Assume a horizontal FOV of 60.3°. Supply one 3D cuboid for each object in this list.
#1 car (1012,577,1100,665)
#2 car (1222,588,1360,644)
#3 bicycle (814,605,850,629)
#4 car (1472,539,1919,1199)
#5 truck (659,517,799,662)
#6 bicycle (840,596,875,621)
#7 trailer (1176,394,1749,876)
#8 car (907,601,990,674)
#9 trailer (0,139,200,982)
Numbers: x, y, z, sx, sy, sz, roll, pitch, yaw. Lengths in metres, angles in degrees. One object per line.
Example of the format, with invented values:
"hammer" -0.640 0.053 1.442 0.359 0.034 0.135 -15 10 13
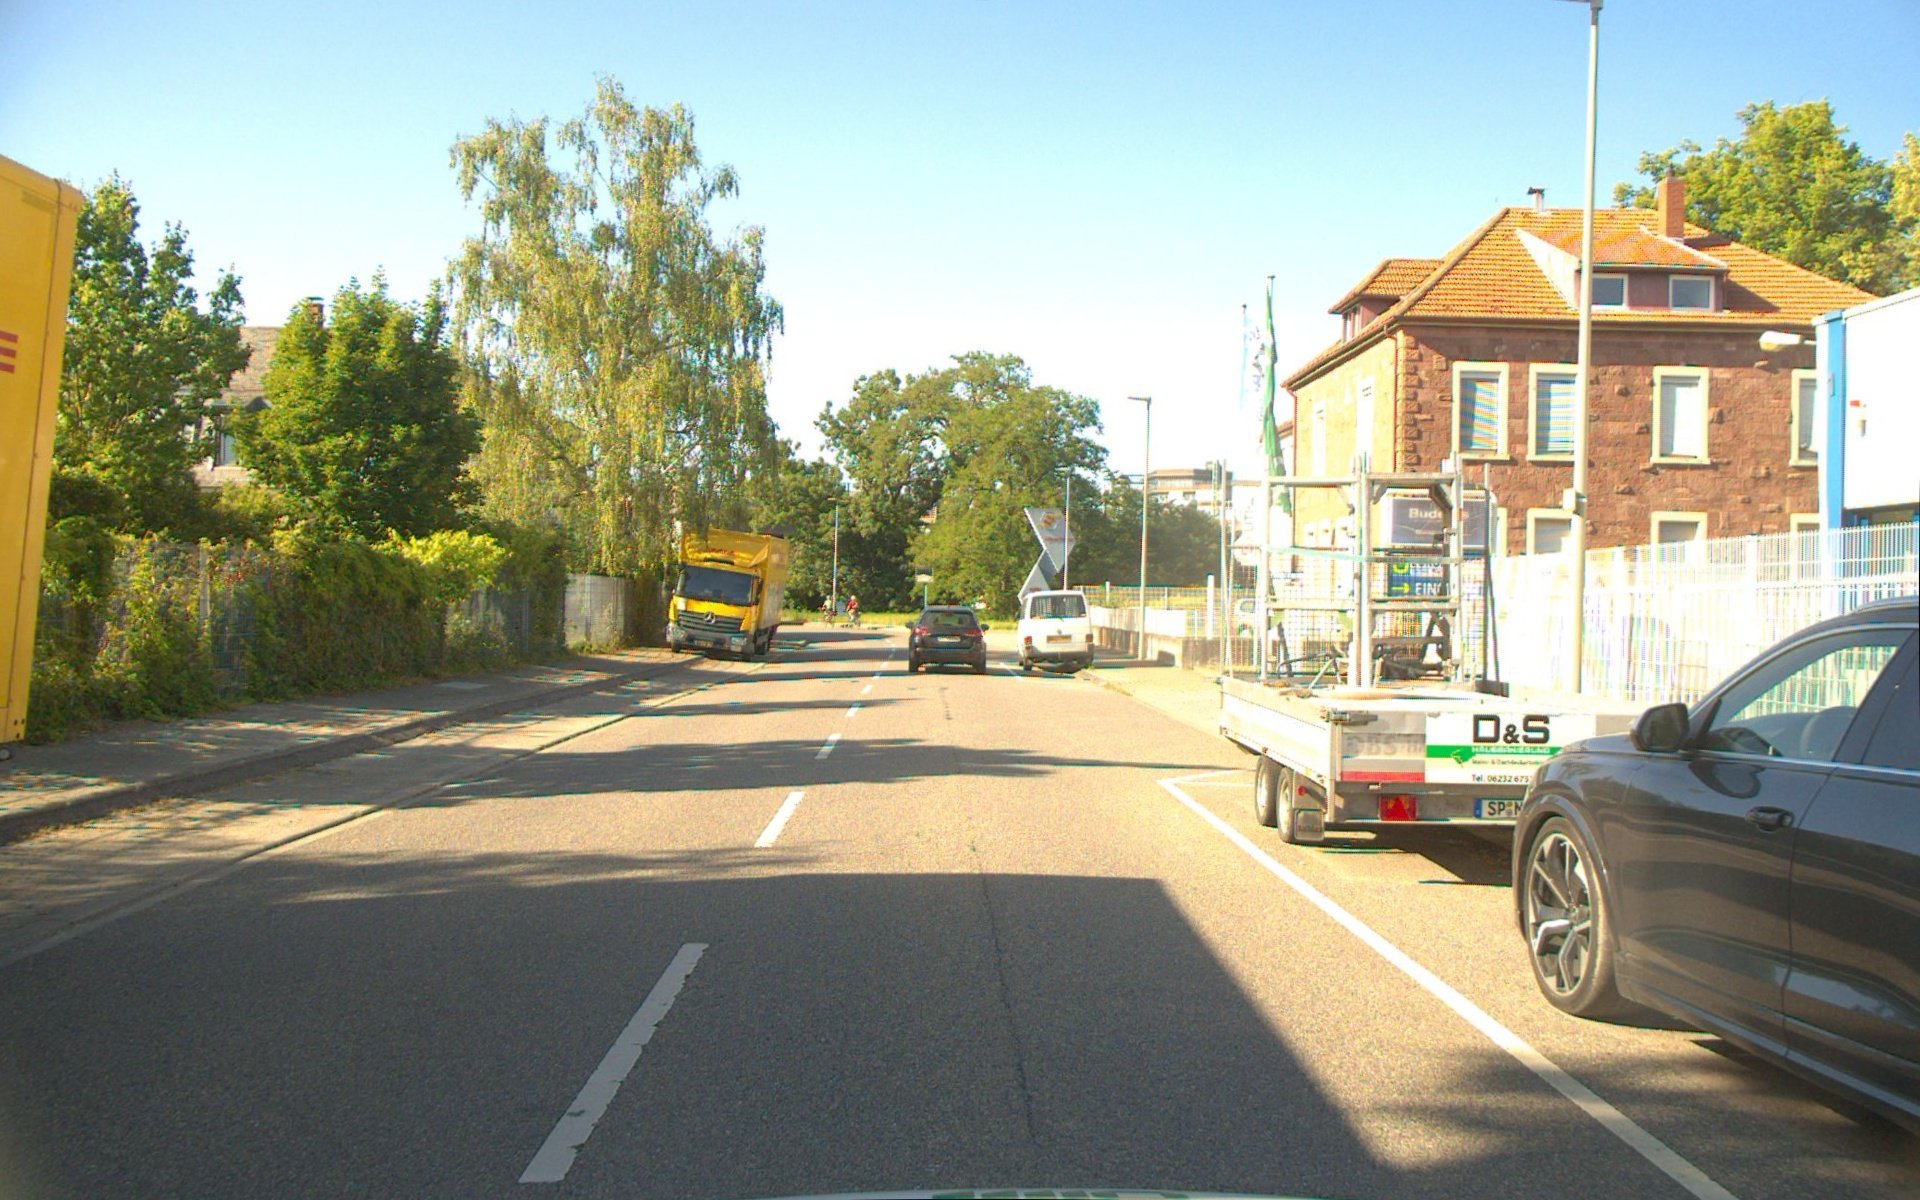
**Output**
"car" 2.385 0.514 42.302 1.836 2.049 5.159 2 0 -1
"car" 12.723 0.570 63.803 1.866 2.049 5.077 0 0 -44
"bicycle" -7.140 0.948 92.310 0.798 1.242 2.226 3 -1 -40
"car" 3.378 0.738 5.218 1.953 1.696 4.730 2 0 -1
"truck" -6.553 -0.367 48.219 2.579 3.564 8.656 6 1 -1
"bicycle" -5.530 0.457 89.144 0.797 1.290 2.230 3 -1 -35
"trailer" 3.241 0.206 12.270 2.410 2.719 5.700 1 0 -1
"car" -0.262 0.813 37.891 1.809 1.557 4.000 0 0 0
"trailer" -5.371 -0.173 4.643 2.931 3.503 8.158 1 0 -2
